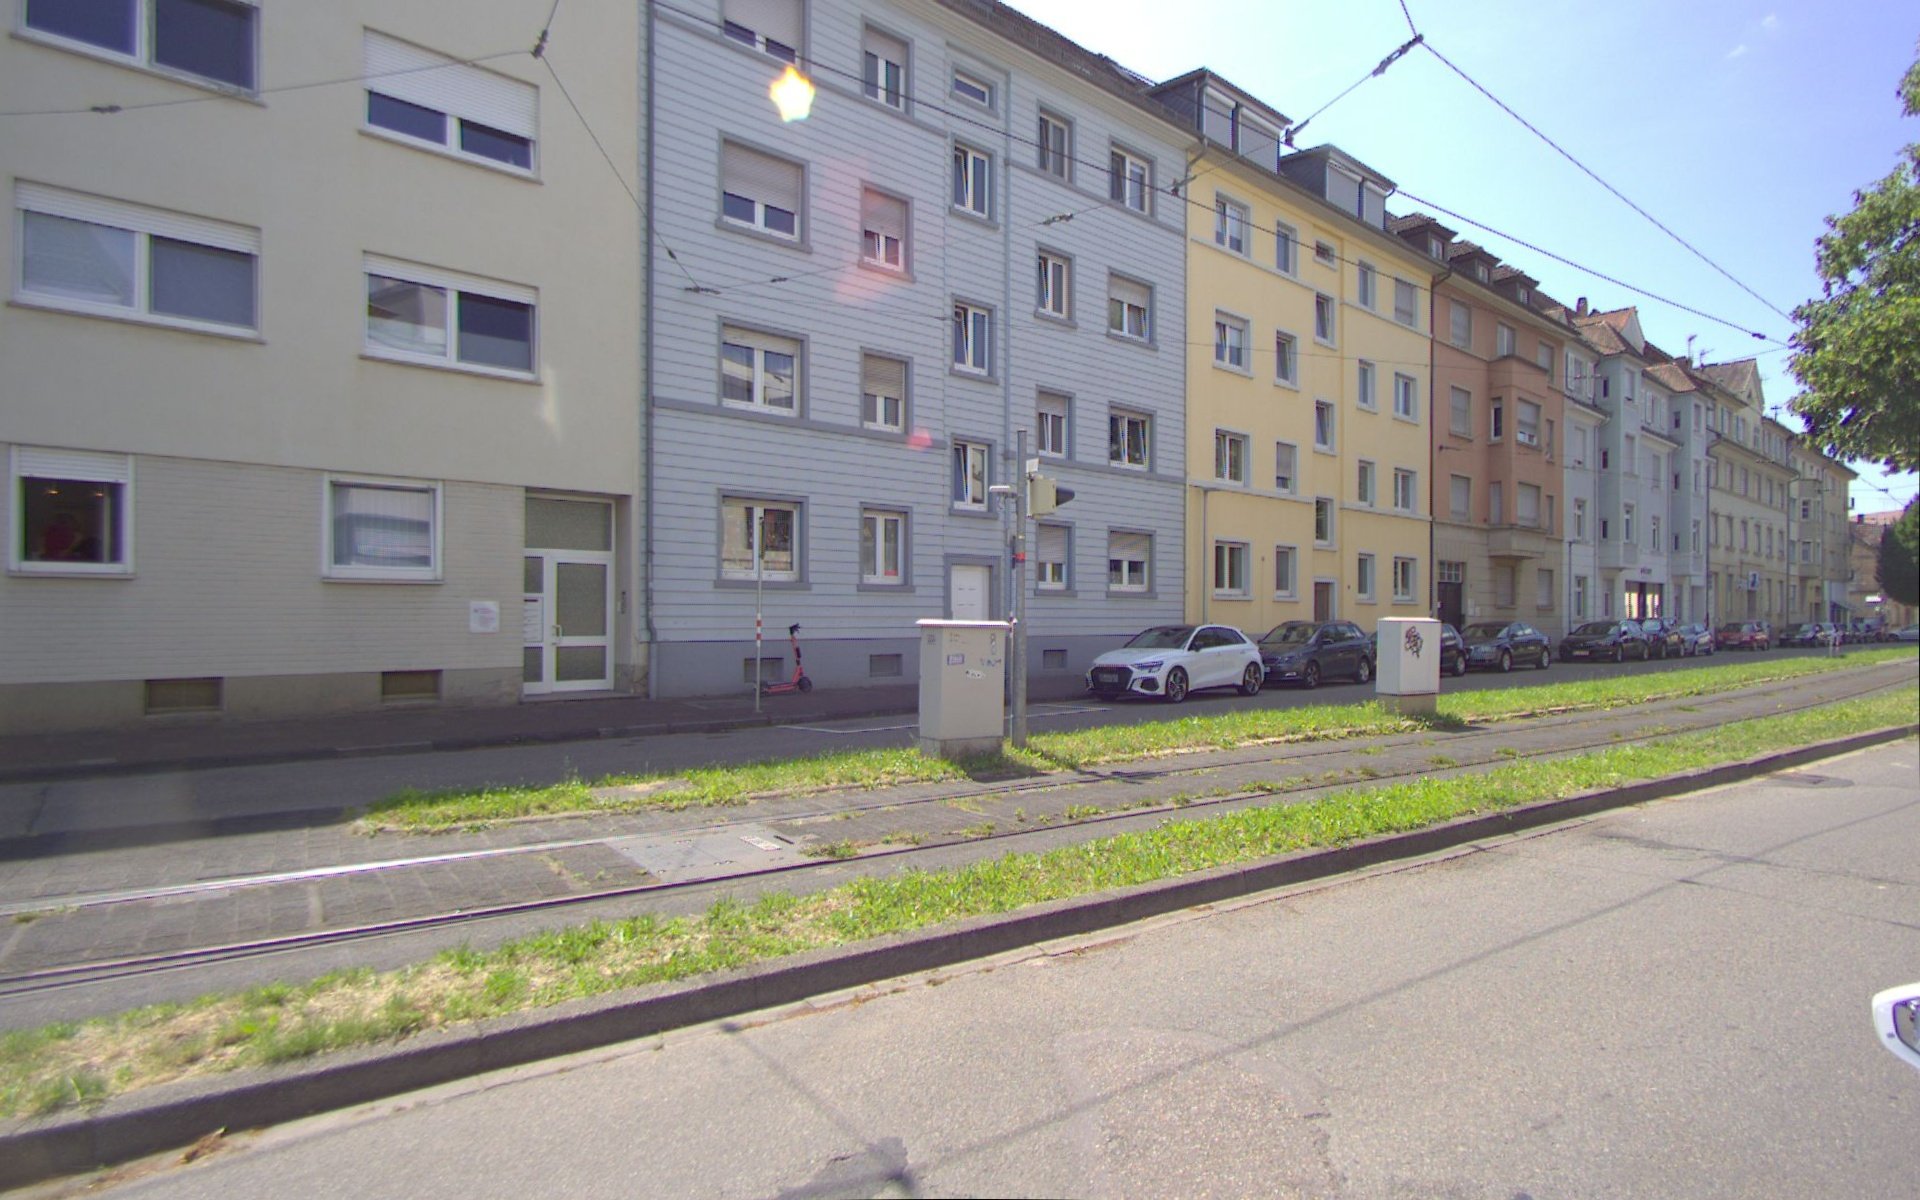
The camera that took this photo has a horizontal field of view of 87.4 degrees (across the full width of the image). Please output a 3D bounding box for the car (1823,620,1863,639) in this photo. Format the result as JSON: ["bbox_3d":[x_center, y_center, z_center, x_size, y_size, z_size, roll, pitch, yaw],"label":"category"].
[{"bbox_3d":[61.354,2.057,69.776,3.558,1.294,1.588,1,-2,-41],"label":"car"}]

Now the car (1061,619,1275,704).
[{"bbox_3d":[4.132,1.138,19.588,4.344,1.470,1.910,1,-3,-43],"label":"car"}]

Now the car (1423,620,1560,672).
[{"bbox_3d":[15.858,1.323,29.867,4.822,1.416,1.912,1,-2,-40],"label":"car"}]

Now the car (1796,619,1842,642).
[{"bbox_3d":[54.343,1.933,63.520,3.827,1.408,1.672,1,-2,-41],"label":"car"}]

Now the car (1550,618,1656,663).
[{"bbox_3d":[23.274,1.433,36.291,4.824,1.510,1.911,1,-2,-41],"label":"car"}]

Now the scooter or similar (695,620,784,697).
[{"bbox_3d":[-3.727,0.963,17.014,1.310,1.239,0.632,1,0,-41],"label":"scooter or similar"}]

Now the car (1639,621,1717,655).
[{"bbox_3d":[30.897,1.633,43.170,4.217,1.374,1.792,1,-2,-41],"label":"car"}]

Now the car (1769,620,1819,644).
[{"bbox_3d":[49.932,1.928,60.128,3.827,1.378,1.672,1,-2,-41],"label":"car"}]

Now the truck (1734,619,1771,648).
[{"bbox_3d":[41.821,1.753,52.995,2.575,1.514,1.116,1,-2,-42],"label":"truck"}]

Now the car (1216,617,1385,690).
[{"bbox_3d":[7.975,1.176,23.360,4.294,1.525,1.910,1,-2,-43],"label":"car"}]

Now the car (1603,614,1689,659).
[{"bbox_3d":[27.386,1.432,40.064,4.110,1.708,1.821,1,-2,-41],"label":"car"}]

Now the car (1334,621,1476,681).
[{"bbox_3d":[11.728,1.288,26.373,4.109,1.418,1.815,1,-2,-41],"label":"car"}]

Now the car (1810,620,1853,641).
[{"bbox_3d":[57.937,2.022,66.749,3.262,1.294,1.672,1,-2,-41],"label":"car"}]

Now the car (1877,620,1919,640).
[{"bbox_3d":[74.181,2.350,78.083,1.990,1.524,4.162,1,-2,-44],"label":"car"}]

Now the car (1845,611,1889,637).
[{"bbox_3d":[68.508,1.813,75.852,4.733,1.936,1.837,1,-2,-41],"label":"car"}]

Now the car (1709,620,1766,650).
[{"bbox_3d":[38.806,1.738,50.090,3.597,1.470,1.558,1,-2,-41],"label":"car"}]
